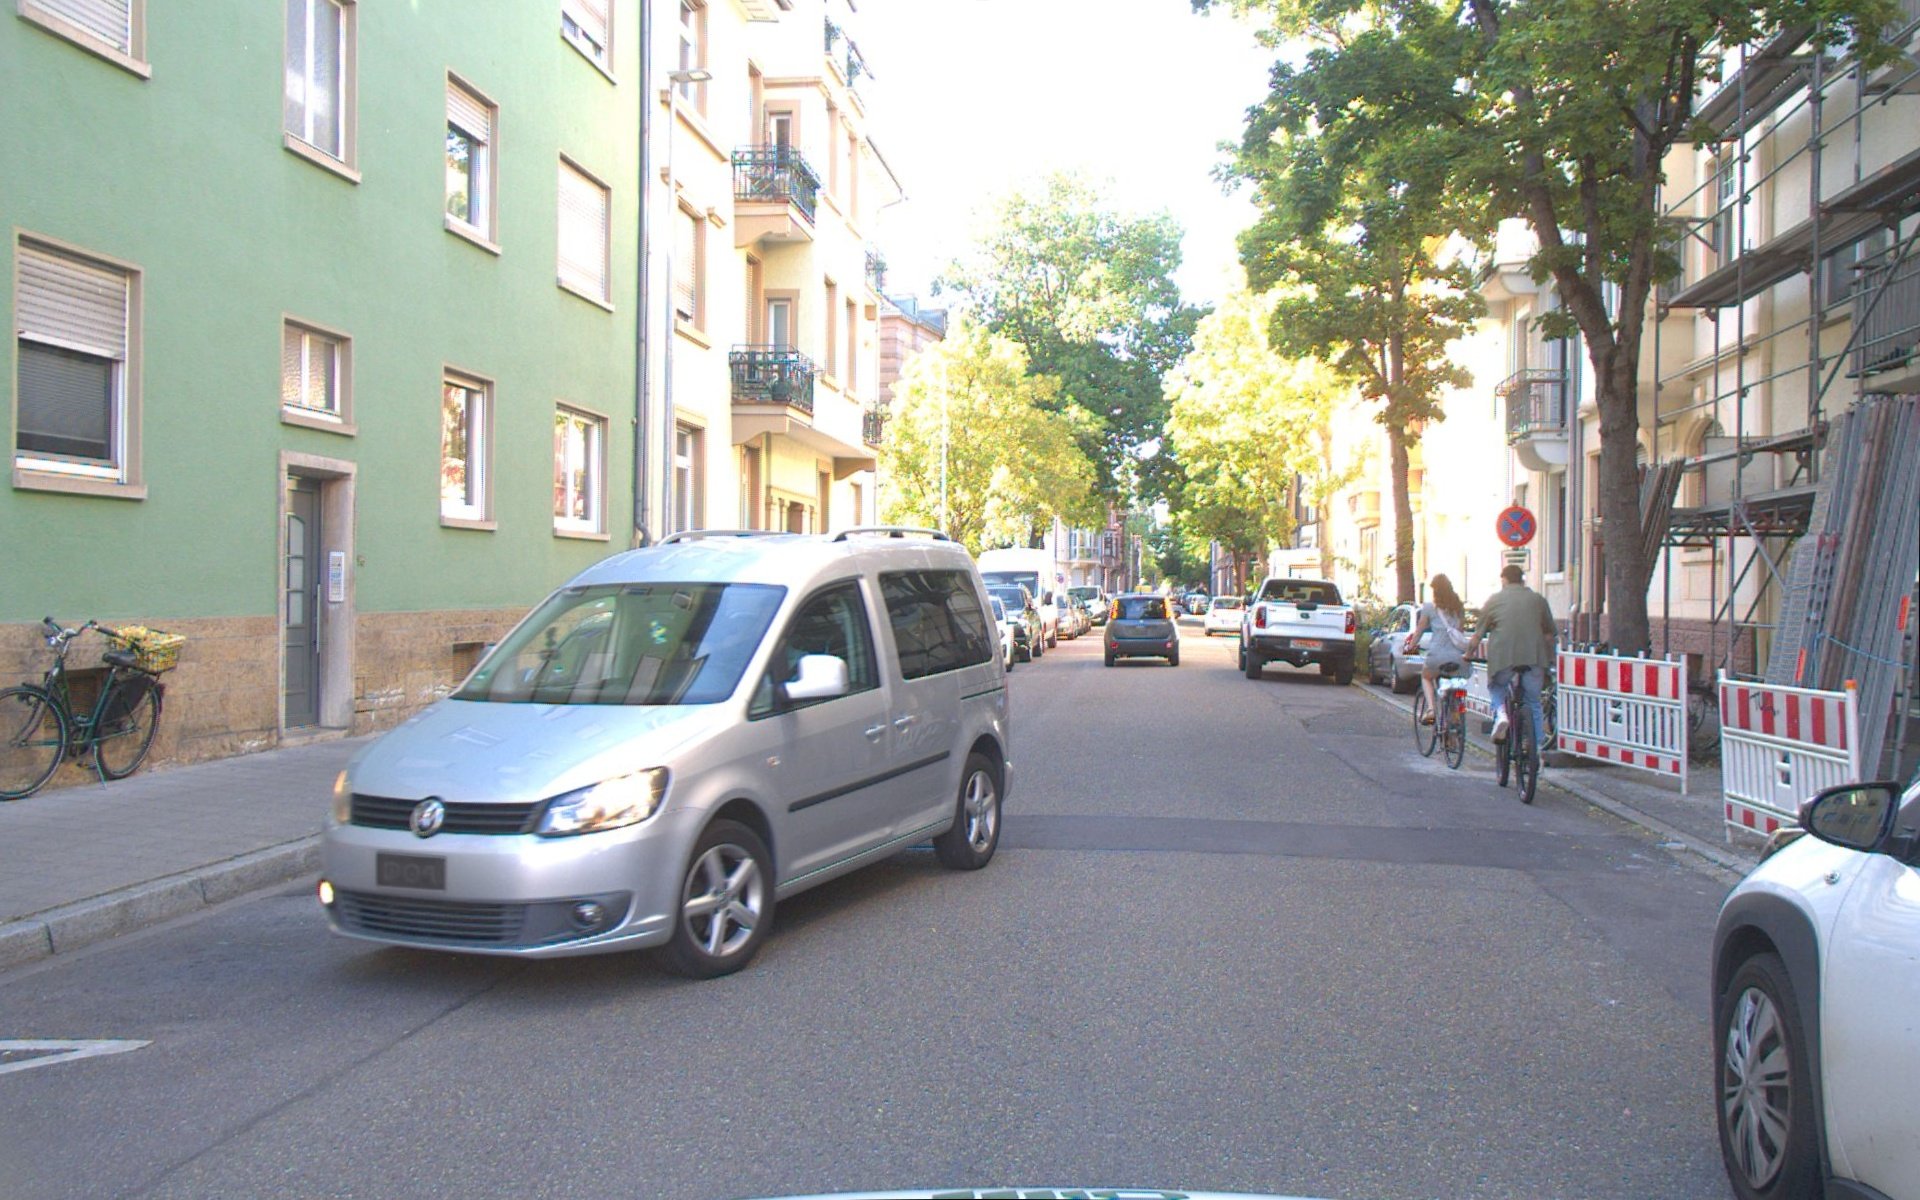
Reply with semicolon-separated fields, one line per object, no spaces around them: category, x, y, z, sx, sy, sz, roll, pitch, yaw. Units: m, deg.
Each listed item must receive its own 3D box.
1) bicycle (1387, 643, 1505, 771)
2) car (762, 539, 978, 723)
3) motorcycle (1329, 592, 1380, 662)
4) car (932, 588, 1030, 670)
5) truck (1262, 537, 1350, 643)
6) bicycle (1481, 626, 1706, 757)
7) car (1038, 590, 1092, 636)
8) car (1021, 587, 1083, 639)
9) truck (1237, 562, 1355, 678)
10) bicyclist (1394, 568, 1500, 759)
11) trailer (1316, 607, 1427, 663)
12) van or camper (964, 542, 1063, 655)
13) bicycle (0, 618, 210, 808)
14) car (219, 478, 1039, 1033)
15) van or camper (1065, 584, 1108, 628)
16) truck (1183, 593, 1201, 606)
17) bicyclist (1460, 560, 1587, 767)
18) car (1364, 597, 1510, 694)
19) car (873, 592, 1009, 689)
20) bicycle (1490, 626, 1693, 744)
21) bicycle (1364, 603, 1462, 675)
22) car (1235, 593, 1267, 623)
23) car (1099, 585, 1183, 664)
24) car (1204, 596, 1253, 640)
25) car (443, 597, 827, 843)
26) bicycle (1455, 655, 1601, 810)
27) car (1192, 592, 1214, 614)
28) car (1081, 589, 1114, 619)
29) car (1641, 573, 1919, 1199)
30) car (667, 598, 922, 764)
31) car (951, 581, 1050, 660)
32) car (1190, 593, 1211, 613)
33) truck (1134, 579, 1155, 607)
bicycle;4.603;0.983;15.775;0.691;1.063;1.859;4;0;6
car;-1.103;0.385;23.256;2.204;2.206;5.247;-2;0;5
motorcycle;8.847;0.575;37.159;0.910;1.512;2.140;1;0;8
car;0.485;0.571;33.959;1.600;1.579;4.092;-1;0;6
truck;10.660;-0.299;51.376;2.029;3.020;6.113;-2;0;6
bicycle;6.109;0.850;16.001;1.892;1.141;0.744;1;1;37
car;3.948;0.457;61.657;1.640;1.600;4.155;-3;0;8
car;3.121;0.414;55.502;1.742;1.618;4.472;-2;0;7
truck;6.313;0.326;31.587;1.789;1.983;5.545;1;0;7
bicyclist;4.609;0.581;15.721;0.699;1.718;0.982;3;0;4
trailer;8.755;0.740;35.234;2.040;1.131;1.114;1;0;-7
van or camper;1.536;-0.048;44.761;2.083;2.817;5.856;-2;0;7
bicycle;-5.820;0.694;11.015;0.476;1.094;1.971;4;0;7
car;-1.166;0.535;7.969;1.735;1.875;4.416;-2;0;21
van or camper;6.344;0.291;82.367;1.881;2.014;5.465;-3;0;6
truck;27.214;-0.052;194.095;1.951;1.482;4.003;0;0;7
bicyclist;4.546;0.490;13.402;0.739;1.592;0.982;2;0;7
car;7.879;0.697;27.685;1.644;1.447;4.433;-1;0;7
car;-0.239;0.653;29.253;1.729;1.548;4.829;-1;0;7
bicycle;6.605;0.869;17.402;1.935;1.141;0.748;1;0;18
bicycle;8.635;0.739;31.554;1.721;1.328;0.586;0;0;6
car;15.295;0.389;86.975;1.488;1.537;3.546;0;0;8
car;3.958;0.492;35.844;1.598;1.577;3.267;-2;0;9
car;10.204;0.663;63.033;1.643;1.571;3.803;1;0;6
car;-2.229;0.756;12.642;1.684;1.488;4.509;-2;0;4
bicycle;4.538;1.023;13.337;0.723;1.078;1.859;2;0;7
car;19.279;0.226;131.143;1.627;1.698;3.760;1;1;8
car;8.164;0.226;98.097;1.786;1.581;4.136;-3;0;5
car;2.651;0.754;2.900;1.764;1.562;3.967;1;0;9
car;-1.607;0.759;17.632;1.794;1.488;4.366;-2;0;6
car;1.027;0.436;39.006;1.835;1.715;4.973;-2;0;7
car;19.690;0.217;135.625;1.627;1.531;3.760;2;1;8
truck;20.845;-0.825;186.533;2.026;2.977;5.072;-3;0;8
